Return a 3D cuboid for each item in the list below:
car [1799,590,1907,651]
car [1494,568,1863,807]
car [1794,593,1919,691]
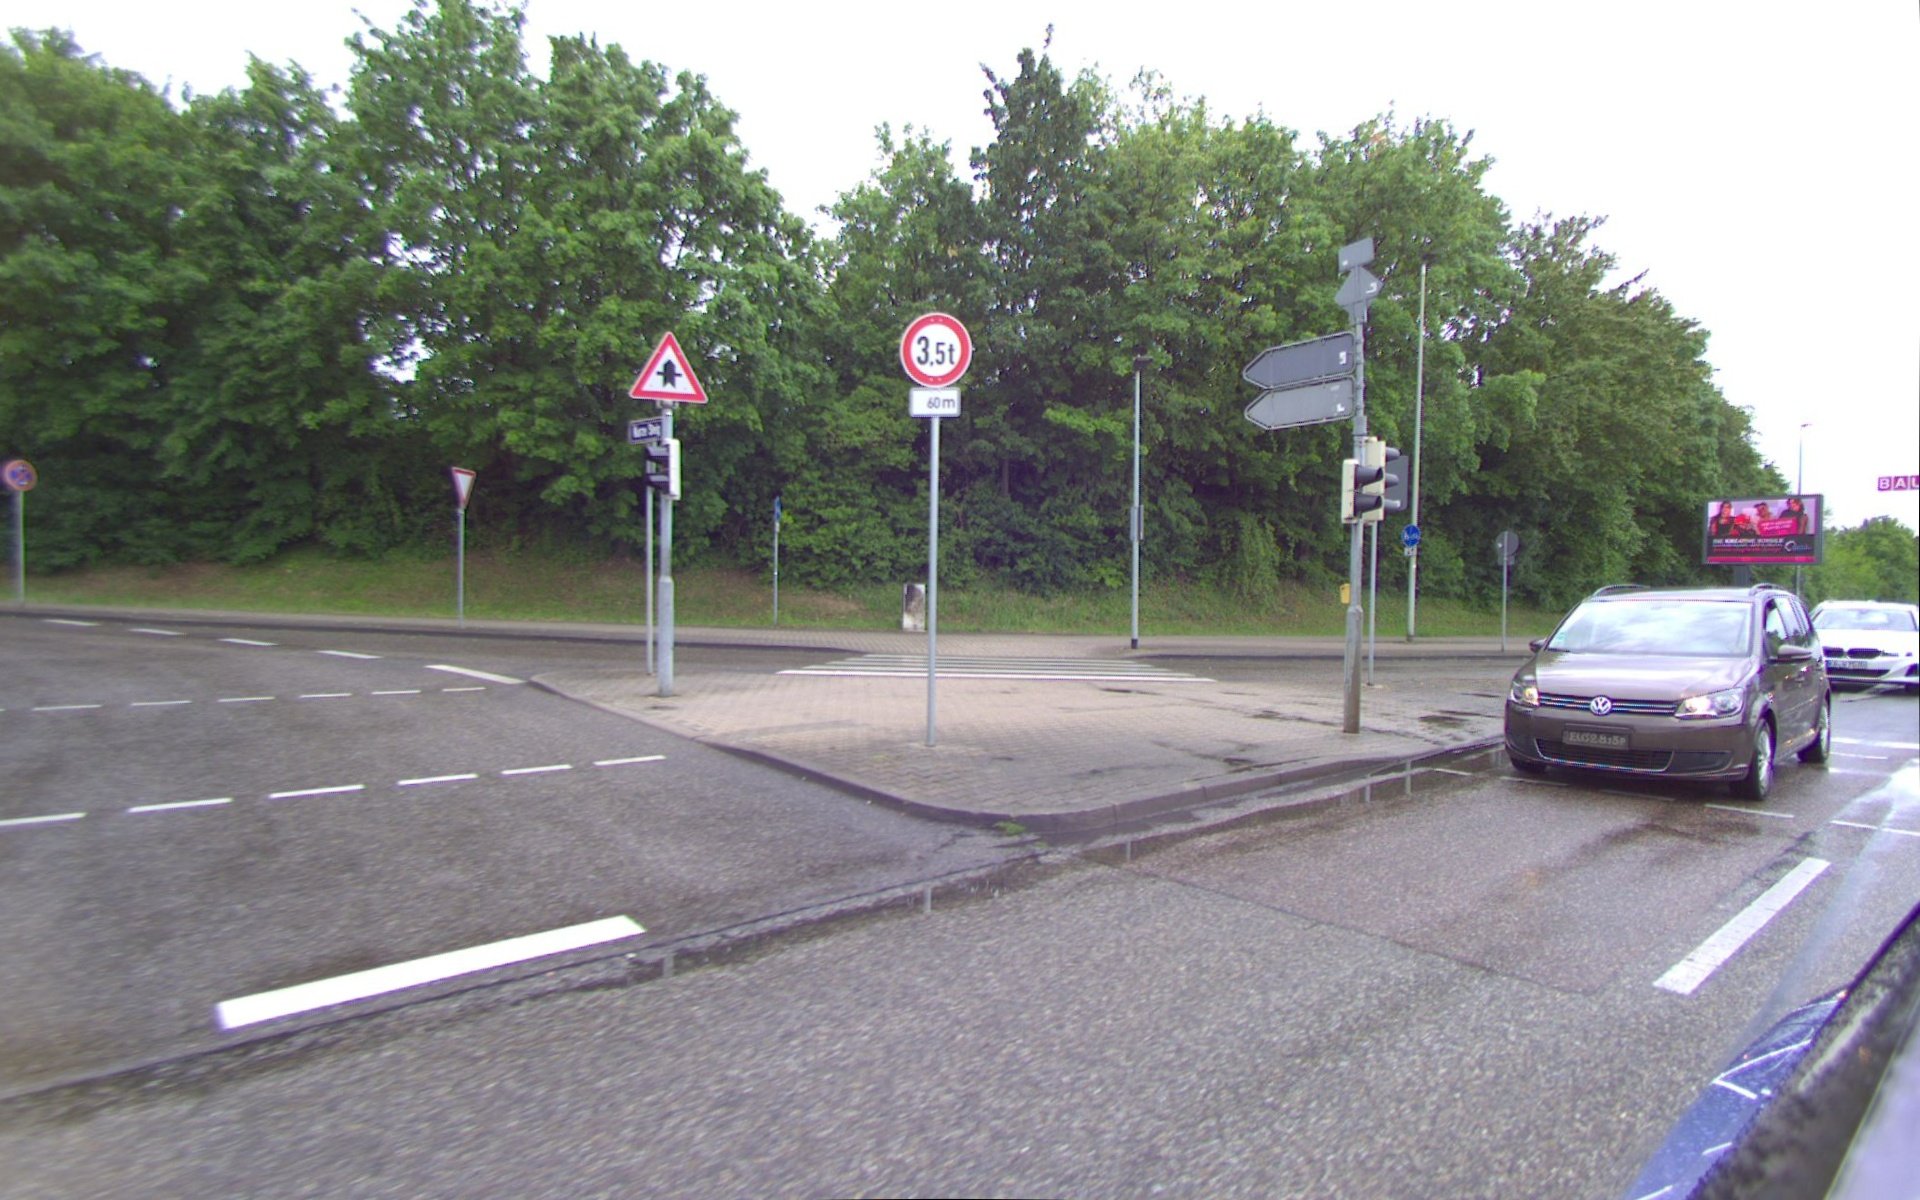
[{"bbox_3d":[28.214,0.618,31.927,4.241,1.749,1.997,0,1,-41],"label":"car"},{"bbox_3d":[6.383,0.574,8.829,3.910,1.629,1.750,0,1,-41],"label":"car"},{"bbox_3d":[15.900,0.622,17.406,4.600,1.475,1.782,0,1,-43],"label":"car"}]
